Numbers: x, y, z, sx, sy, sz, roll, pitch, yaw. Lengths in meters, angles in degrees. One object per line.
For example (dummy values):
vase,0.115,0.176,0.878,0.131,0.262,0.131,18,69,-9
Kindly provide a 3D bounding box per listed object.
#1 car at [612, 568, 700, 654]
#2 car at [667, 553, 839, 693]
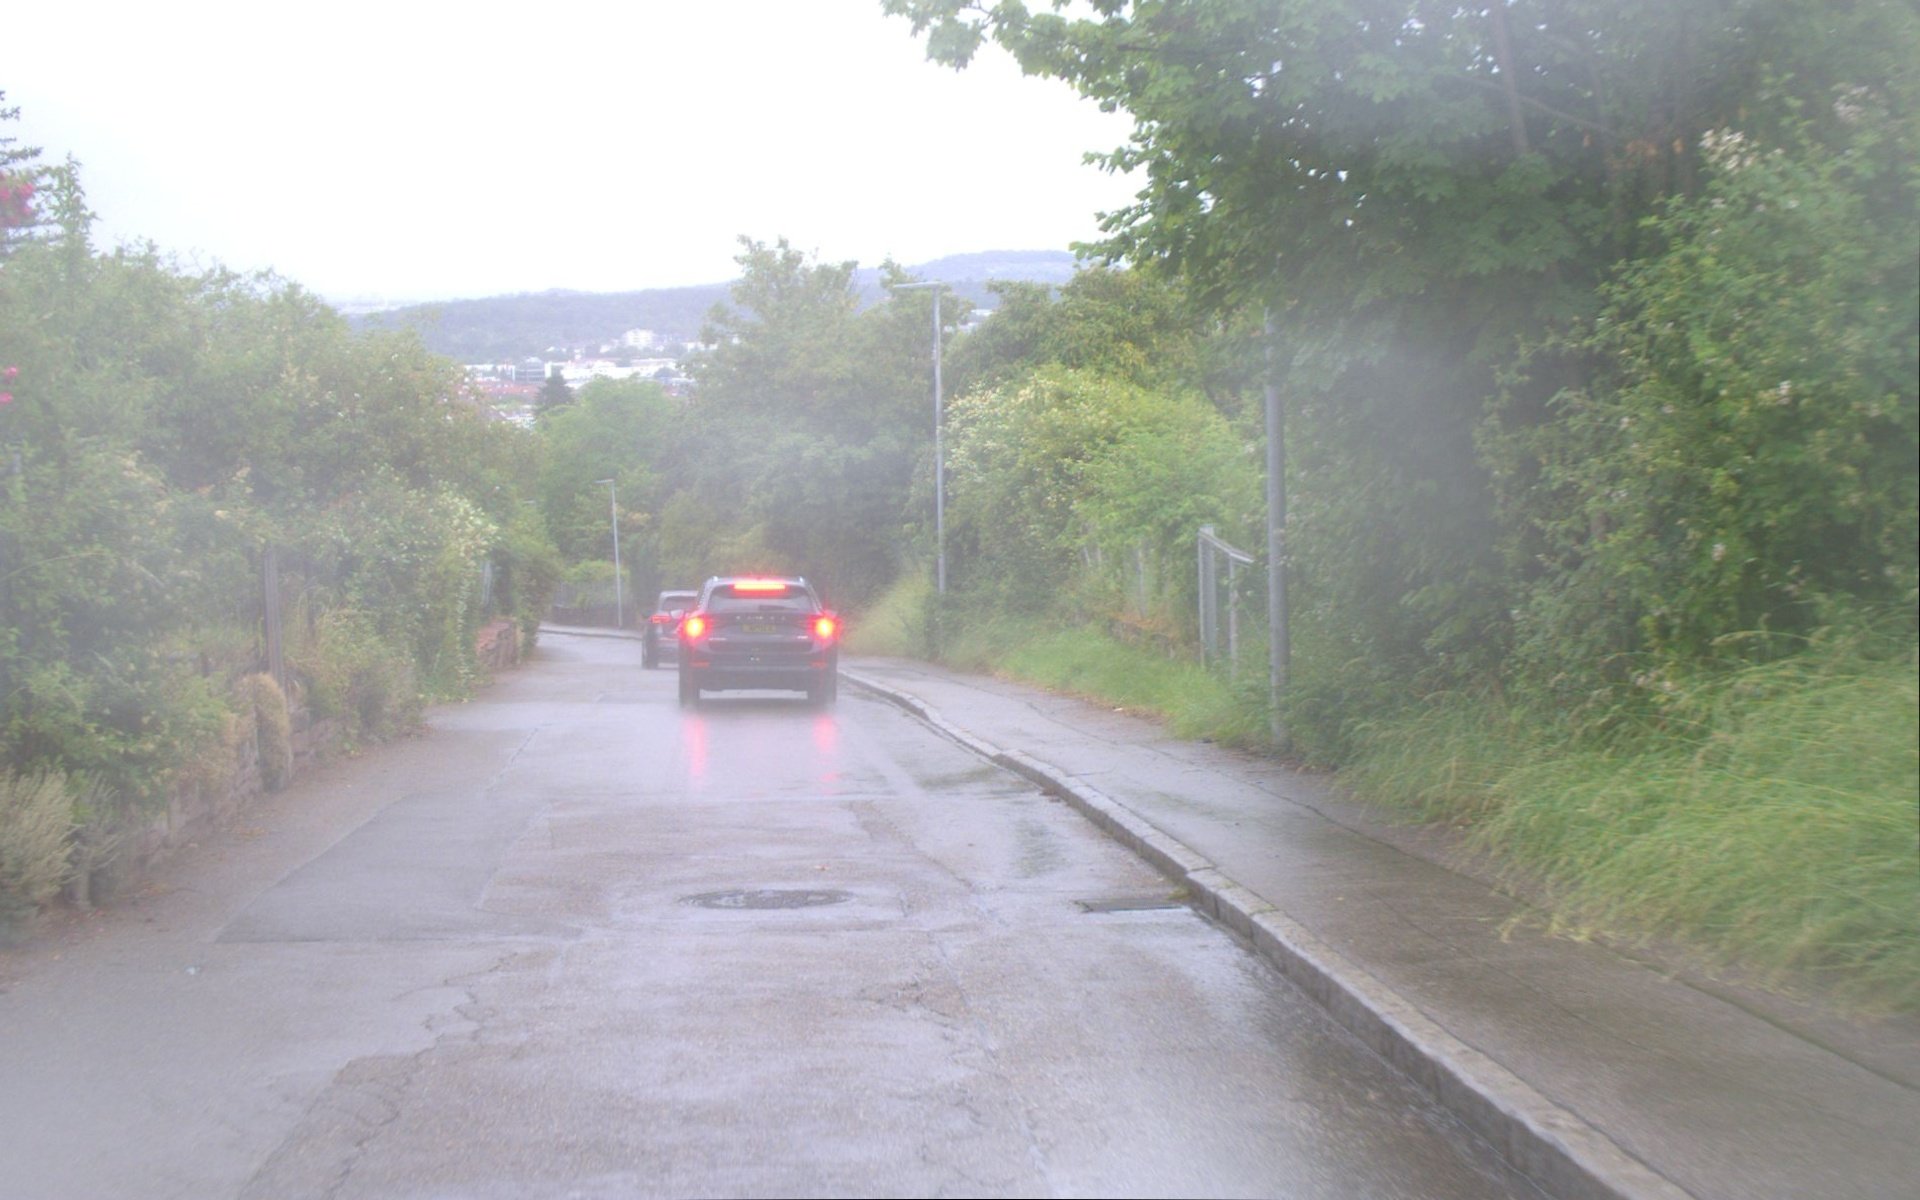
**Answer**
car,-5.995,0.195,67.824,1.678,1.560,3.795,0,2,-5
car,-2.388,0.223,39.385,1.834,1.459,4.001,-1,1,-4
